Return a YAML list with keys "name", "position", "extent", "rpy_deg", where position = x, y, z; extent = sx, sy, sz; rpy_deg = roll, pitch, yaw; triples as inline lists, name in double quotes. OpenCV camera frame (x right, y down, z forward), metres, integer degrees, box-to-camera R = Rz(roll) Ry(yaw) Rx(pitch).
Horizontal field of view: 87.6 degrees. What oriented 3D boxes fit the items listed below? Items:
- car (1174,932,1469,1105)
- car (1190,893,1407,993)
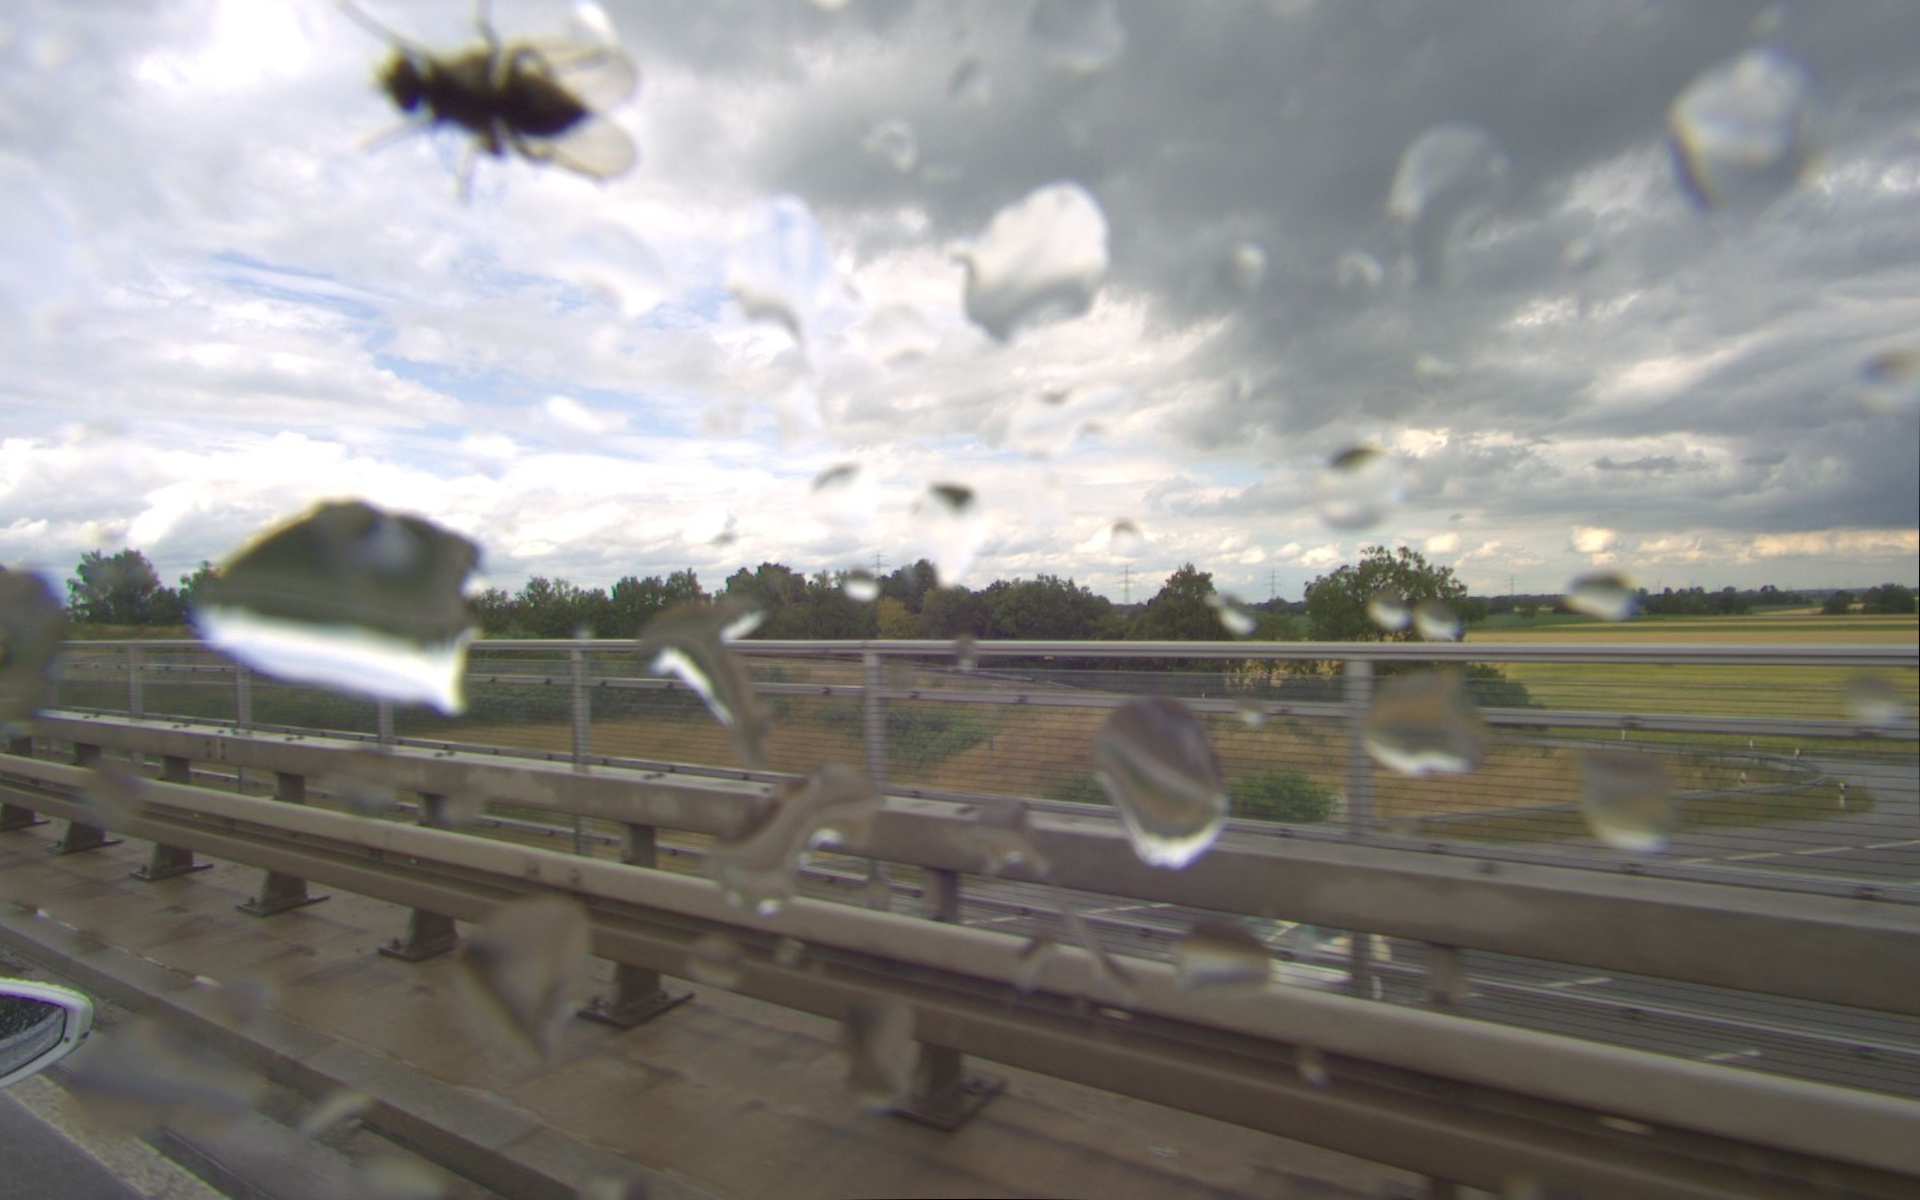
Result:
- name: "car"
  position: [7.292, 8.357, 20.342]
  extent: [5.454, 2.249, 1.998]
  rpy_deg: [0, -2, -14]
- name: "car"
  position: [8.132, 8.261, 24.275]
  extent: [4.634, 1.690, 1.815]
  rpy_deg: [0, -2, -7]
